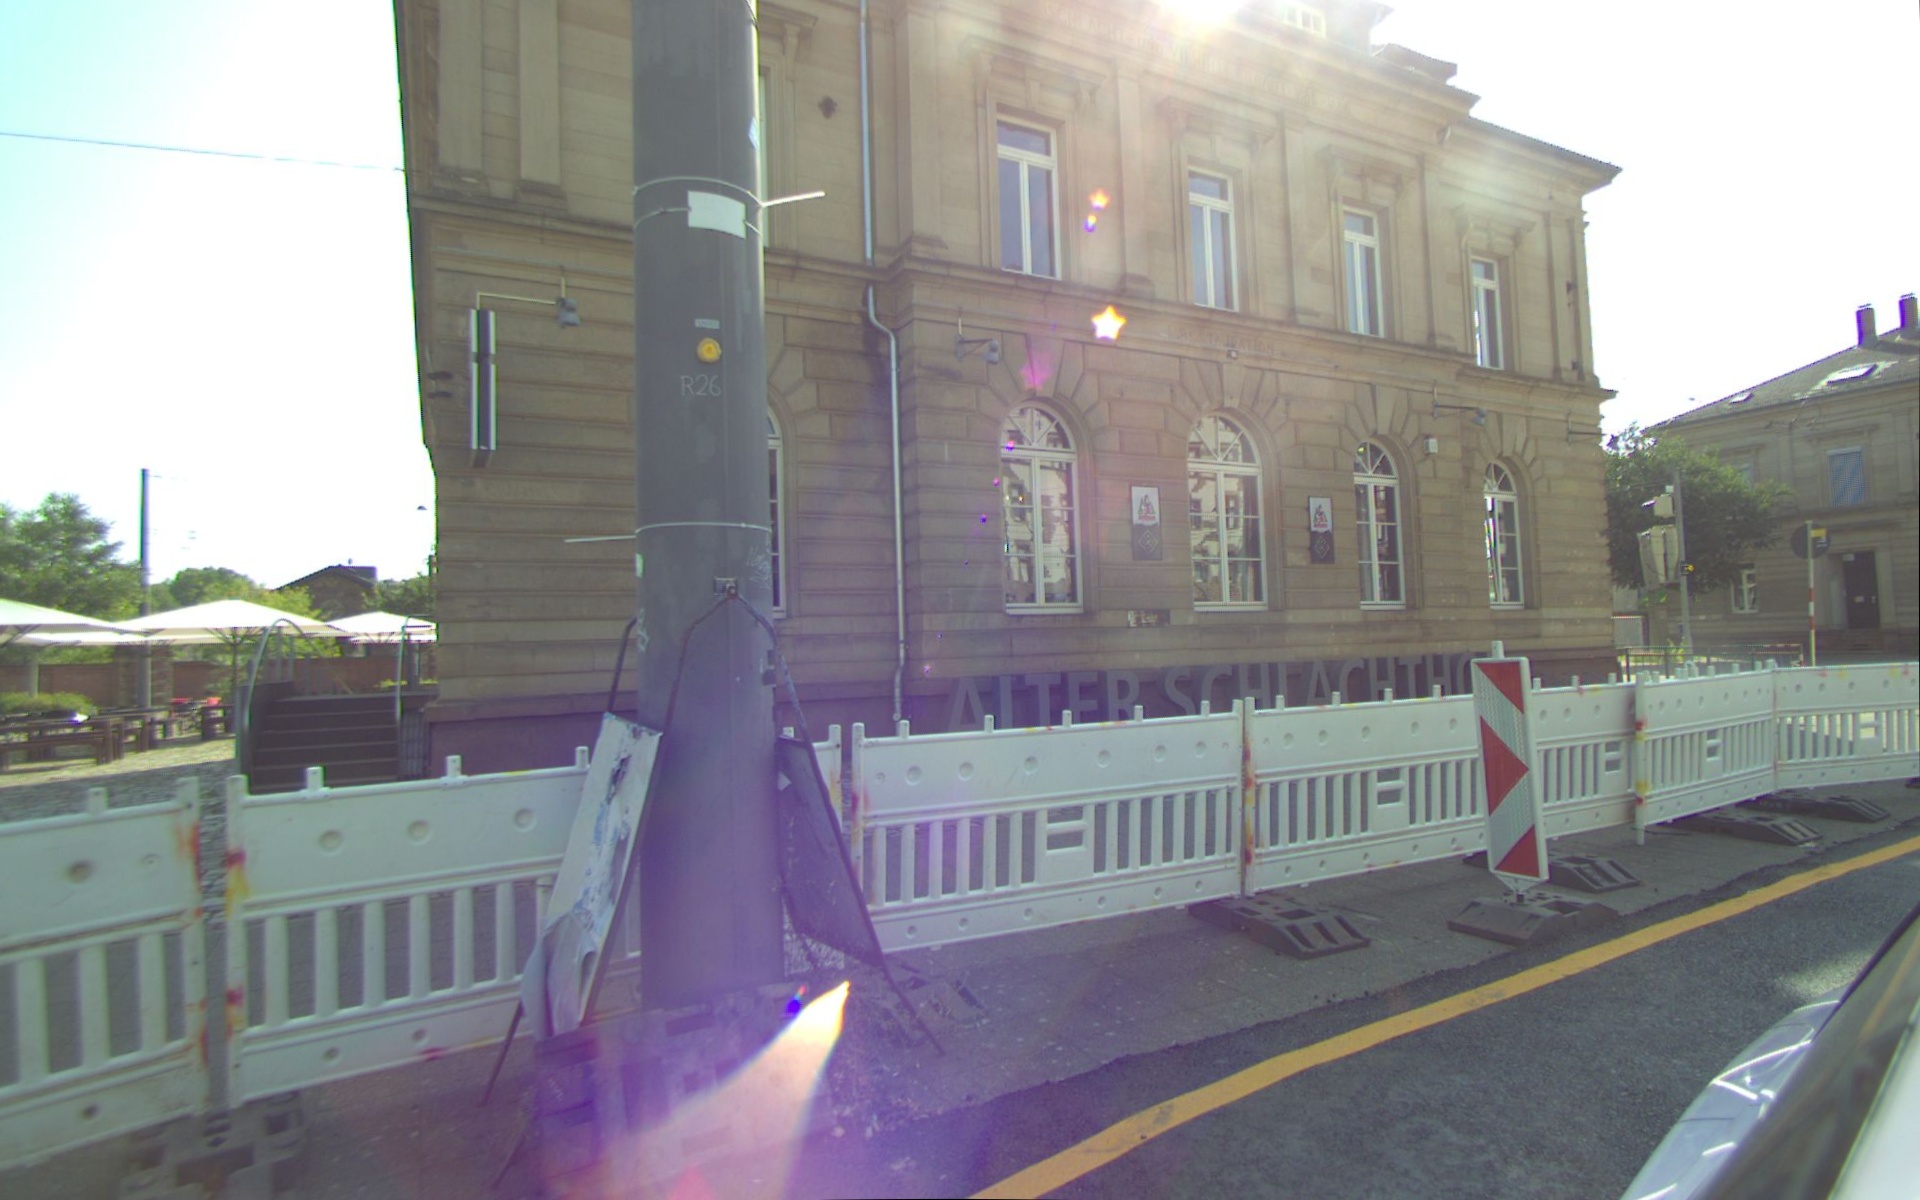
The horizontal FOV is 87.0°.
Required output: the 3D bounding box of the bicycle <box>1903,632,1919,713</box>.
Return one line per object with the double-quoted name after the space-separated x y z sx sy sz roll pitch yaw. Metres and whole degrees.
13.497 0.931 13.429 2.089 1.046 0.744 0 -3 -28 "bicycle"
